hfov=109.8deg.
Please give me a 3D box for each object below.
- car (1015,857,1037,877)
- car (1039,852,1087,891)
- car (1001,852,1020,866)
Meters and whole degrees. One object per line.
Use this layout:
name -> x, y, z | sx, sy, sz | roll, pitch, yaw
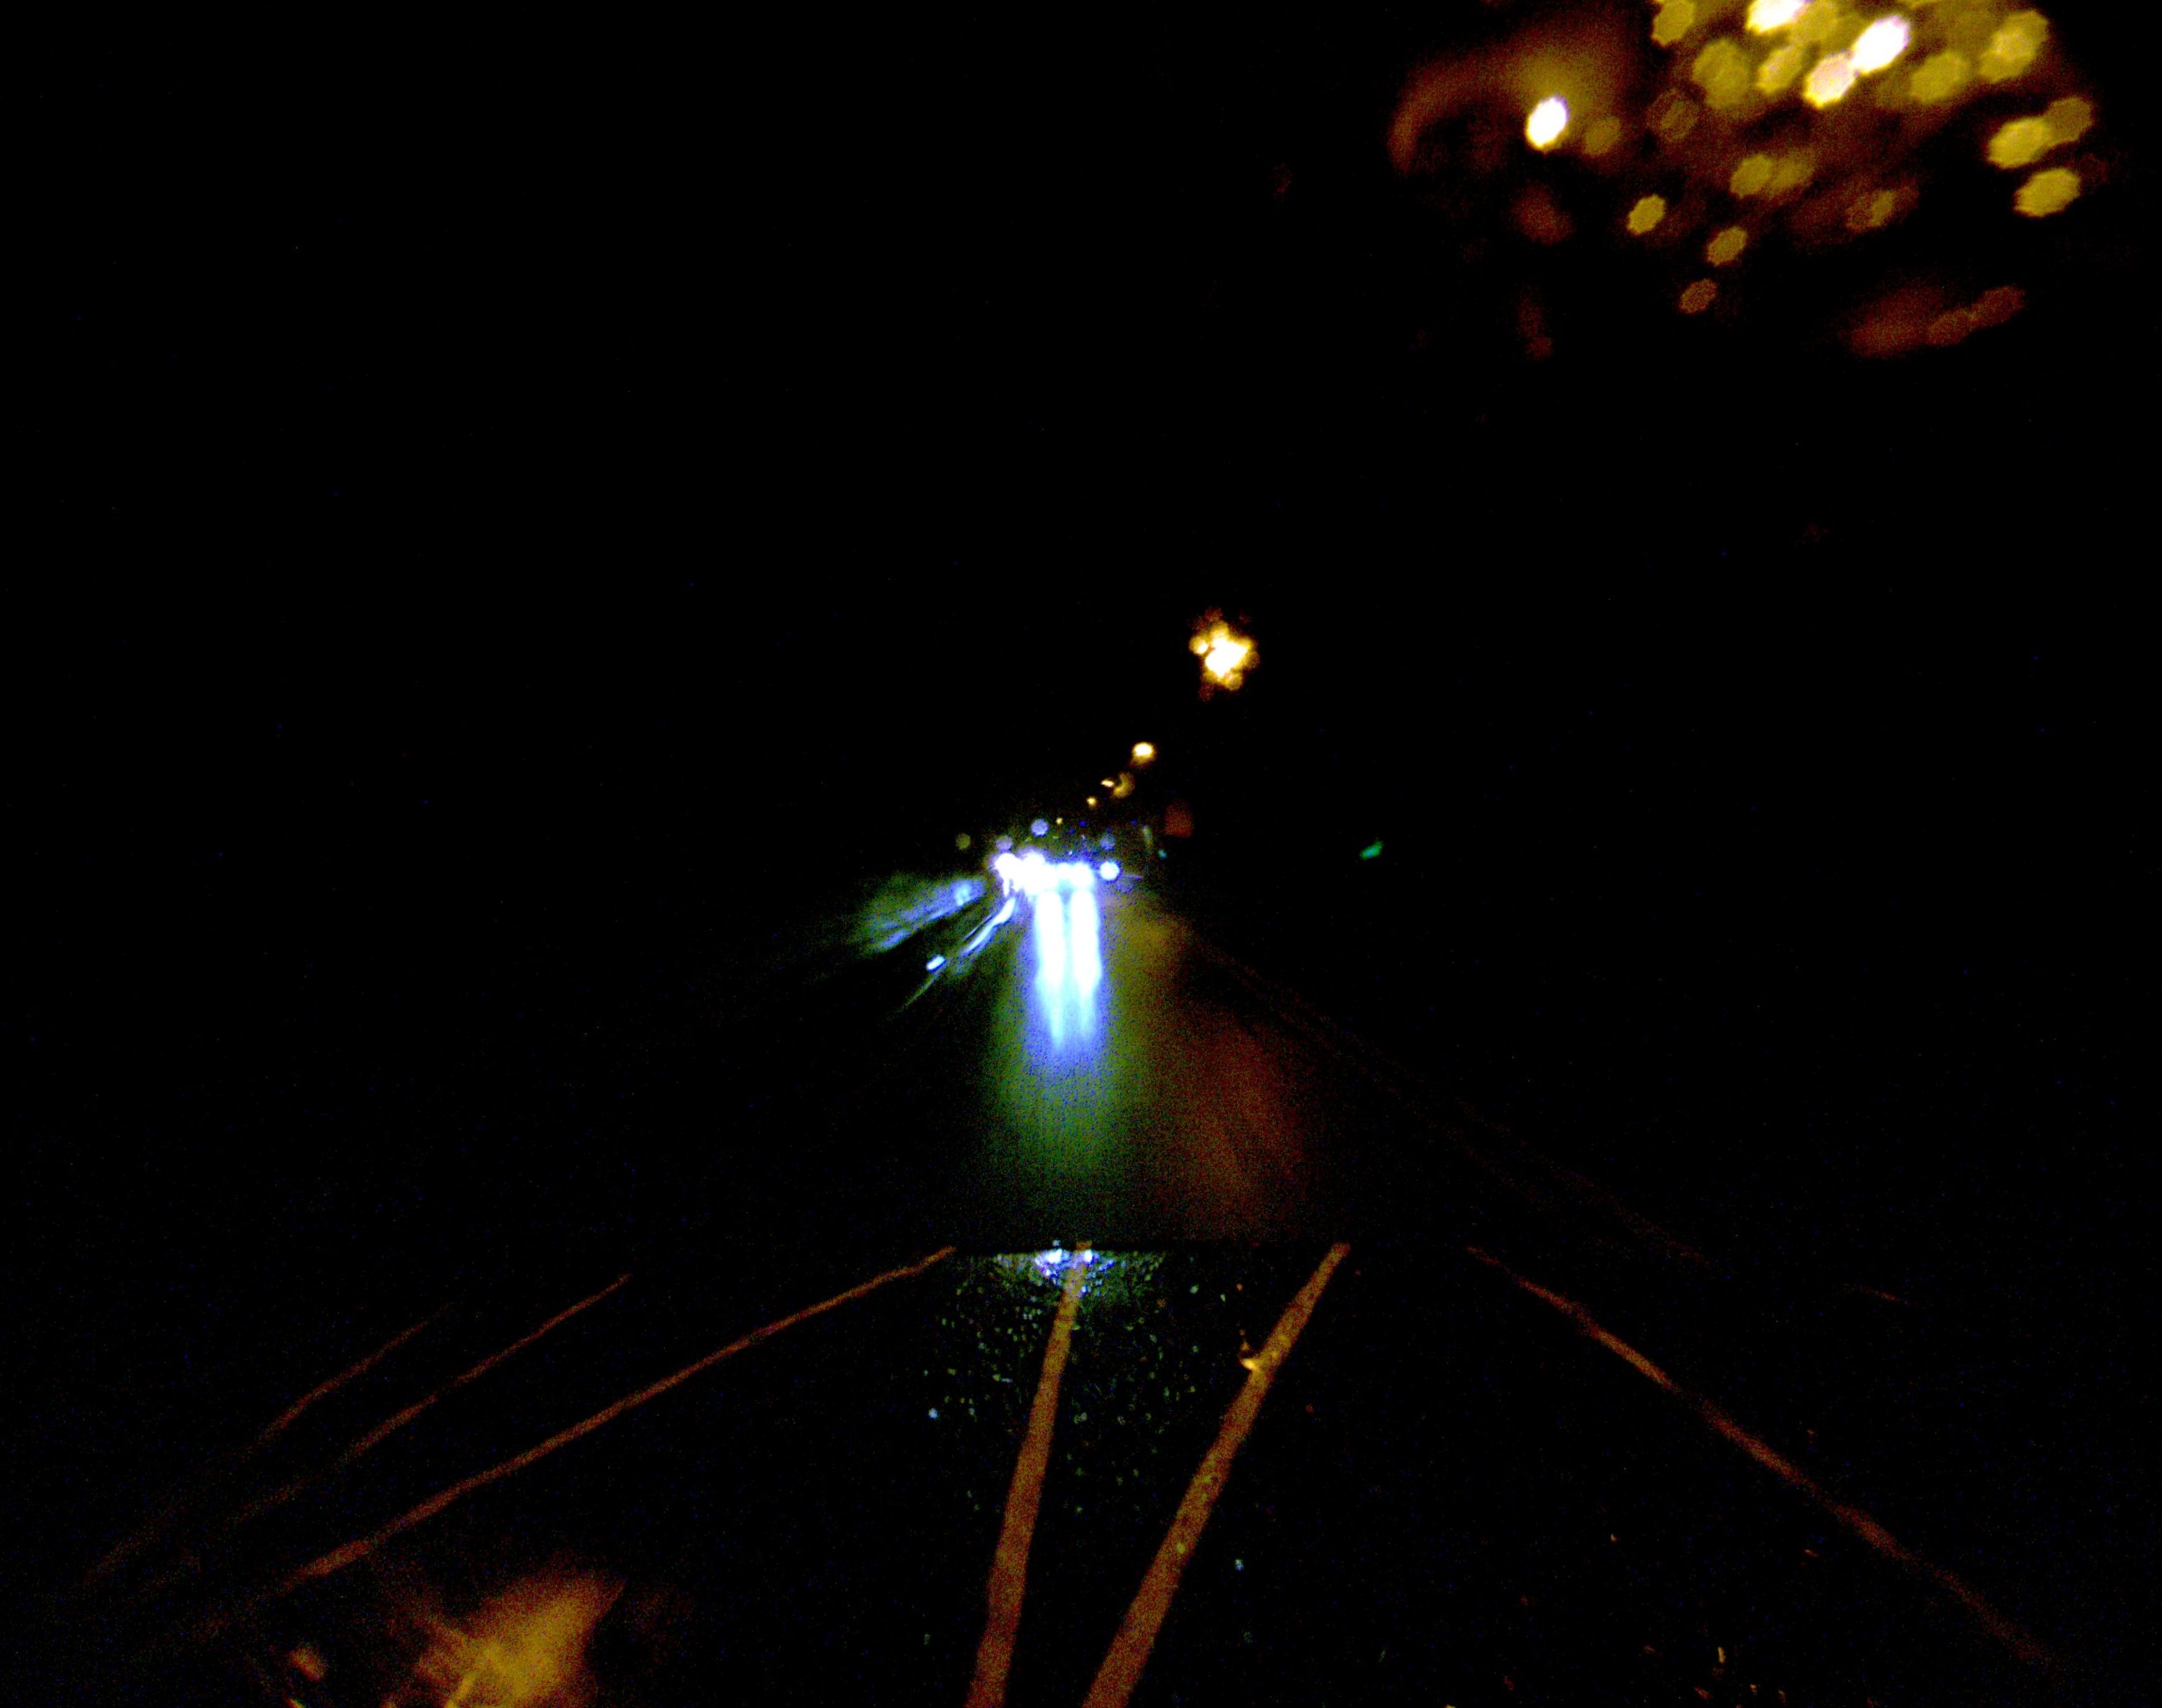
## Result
car -> -5.985, 1.340, 81.794 | 1.900, 2.002, 3.996 | -1, 1, -10
car -> -0.792, 0.744, 35.159 | 1.999, 1.585, 4.607 | -3, 1, -1
car -> -9.420, 0.680, 101.875 | 1.711, 1.762, 3.994 | -2, 1, -17
